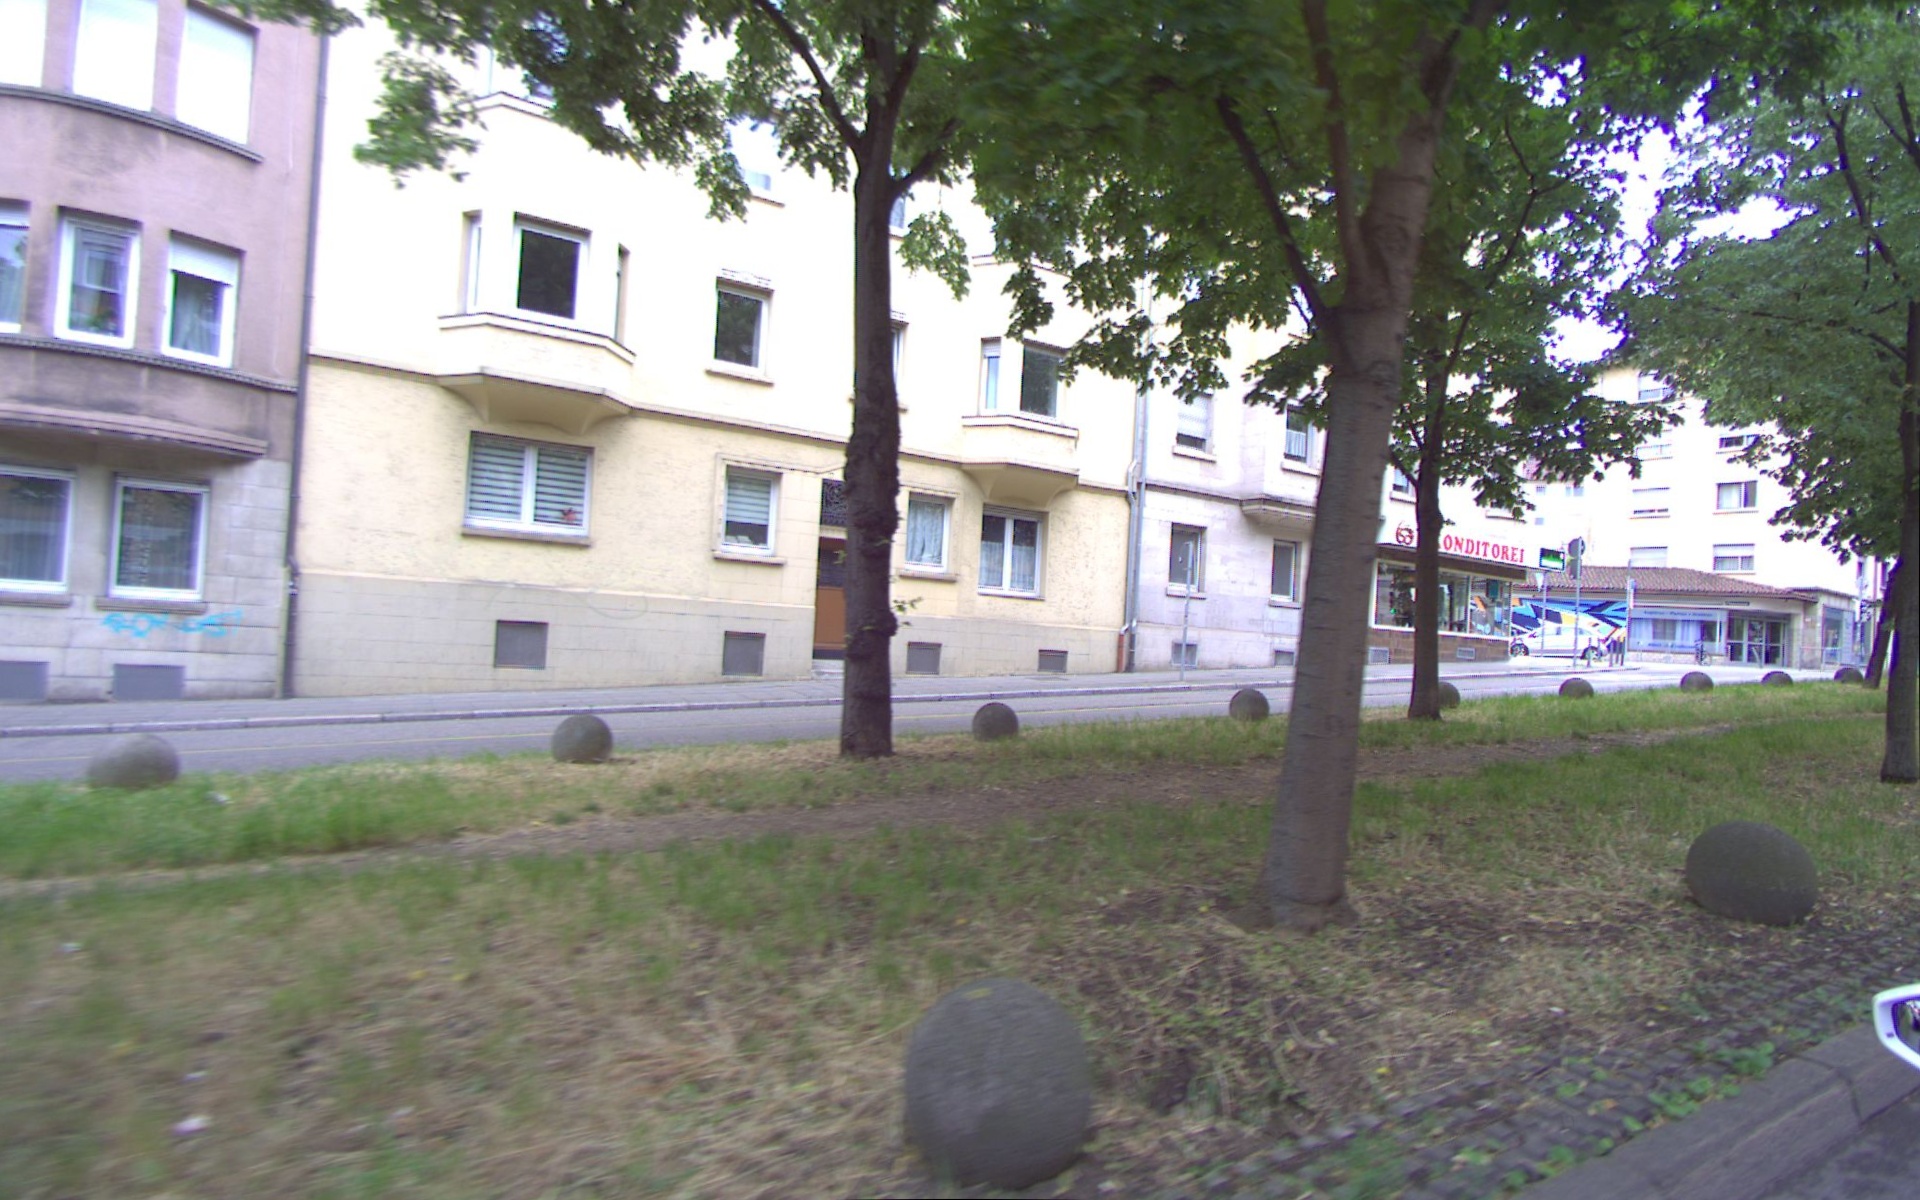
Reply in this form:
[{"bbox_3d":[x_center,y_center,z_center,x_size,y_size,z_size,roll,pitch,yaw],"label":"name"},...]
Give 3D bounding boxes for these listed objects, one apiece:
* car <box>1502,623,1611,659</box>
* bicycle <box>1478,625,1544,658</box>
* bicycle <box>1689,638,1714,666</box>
[{"bbox_3d":[26.246,1.827,44.365,3.966,1.498,1.820,-1,-3,26],"label":"car"},{"bbox_3d":[20.218,1.512,36.921,0.851,1.060,2.458,3,0,-5],"label":"bicycle"},{"bbox_3d":[30.946,2.163,41.913,0.752,1.099,2.030,3,-1,36],"label":"bicycle"}]
